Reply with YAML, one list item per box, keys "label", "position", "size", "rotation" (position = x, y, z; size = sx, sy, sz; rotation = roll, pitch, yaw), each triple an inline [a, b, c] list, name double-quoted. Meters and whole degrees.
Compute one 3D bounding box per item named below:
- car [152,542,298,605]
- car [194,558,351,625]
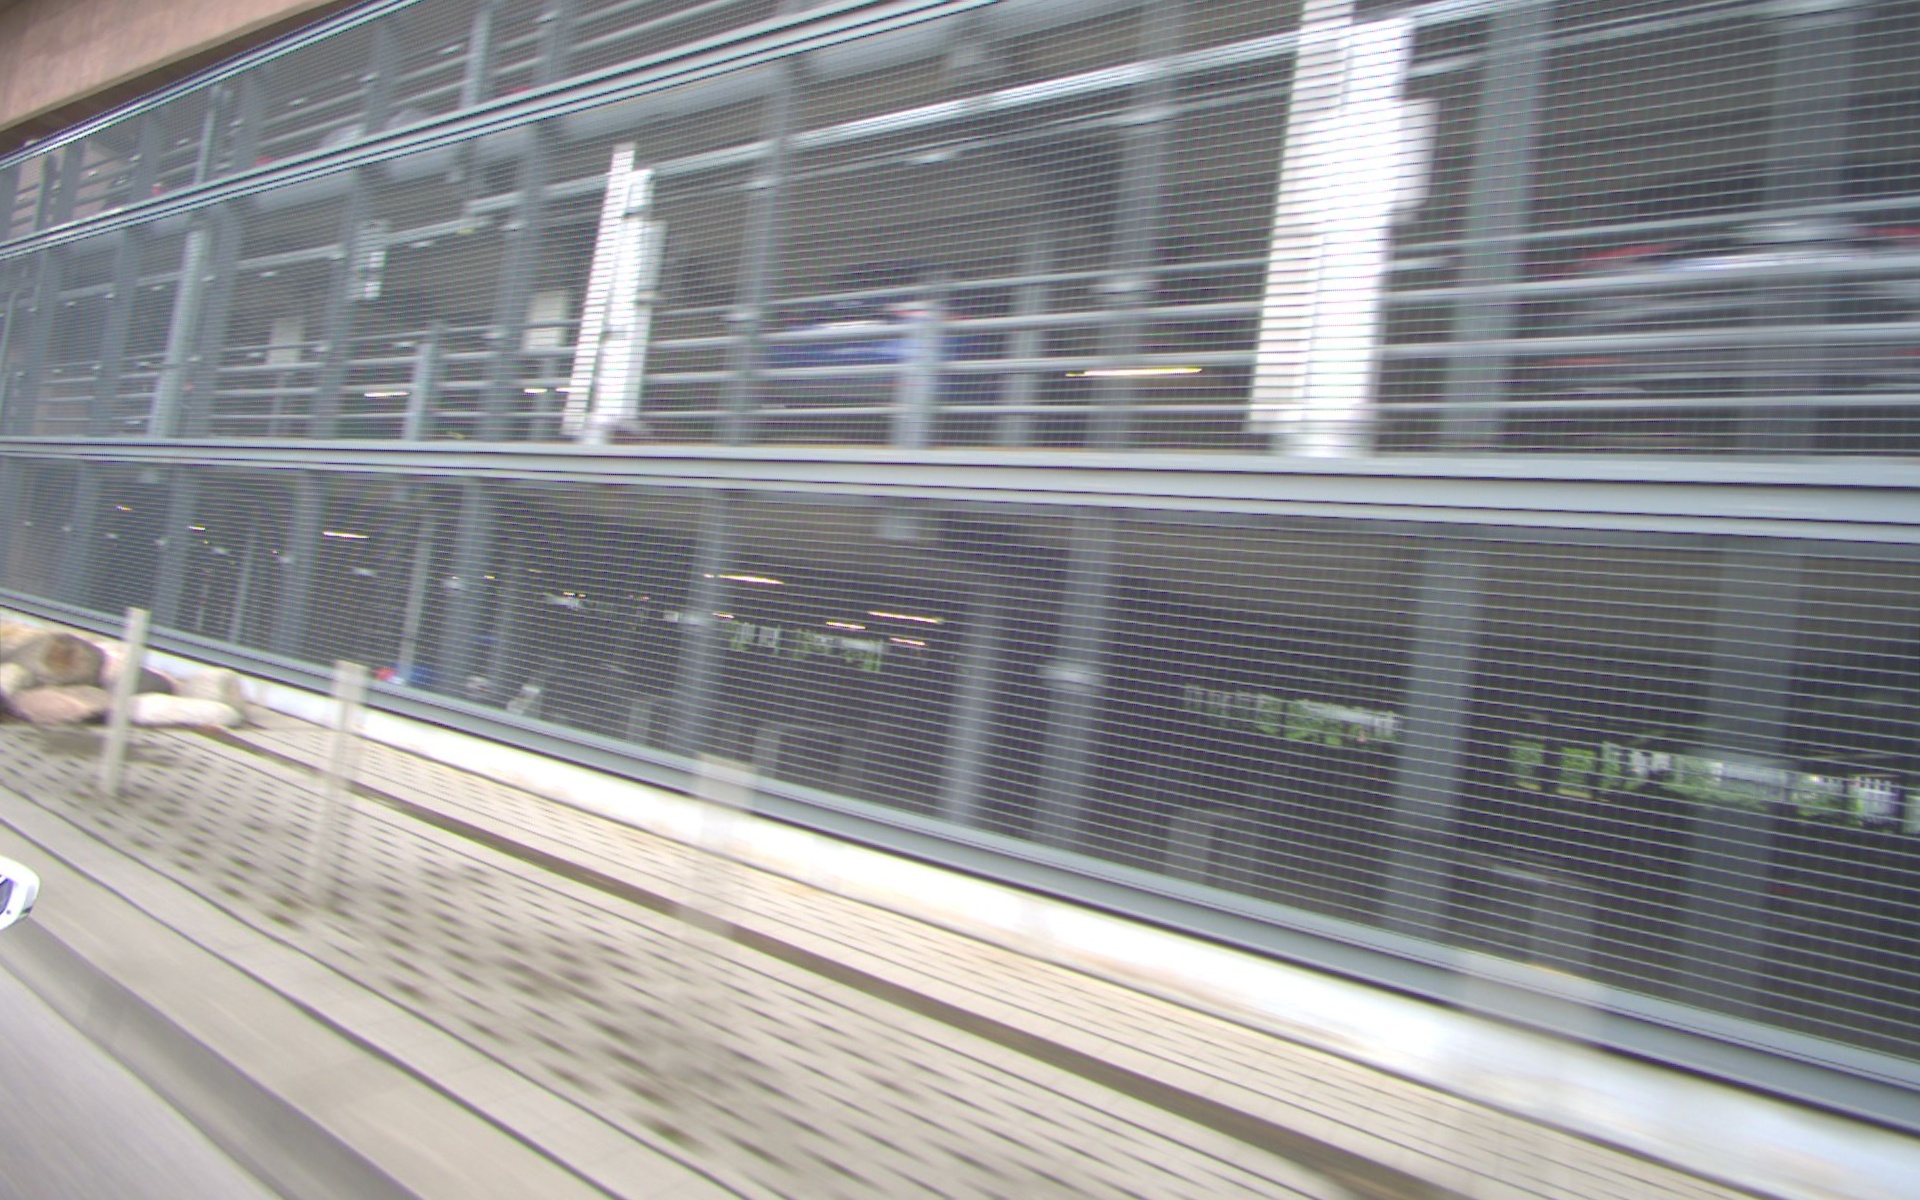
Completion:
- label: "car"
  position: [-27.845, -0.960, 38.221]
  size: [1.694, 1.632, 3.998]
  rotation: [7, -4, 32]
- label: "car"
  position: [-23.998, -0.258, 35.236]
  size: [1.804, 1.632, 3.999]
  rotation: [7, -4, 31]
